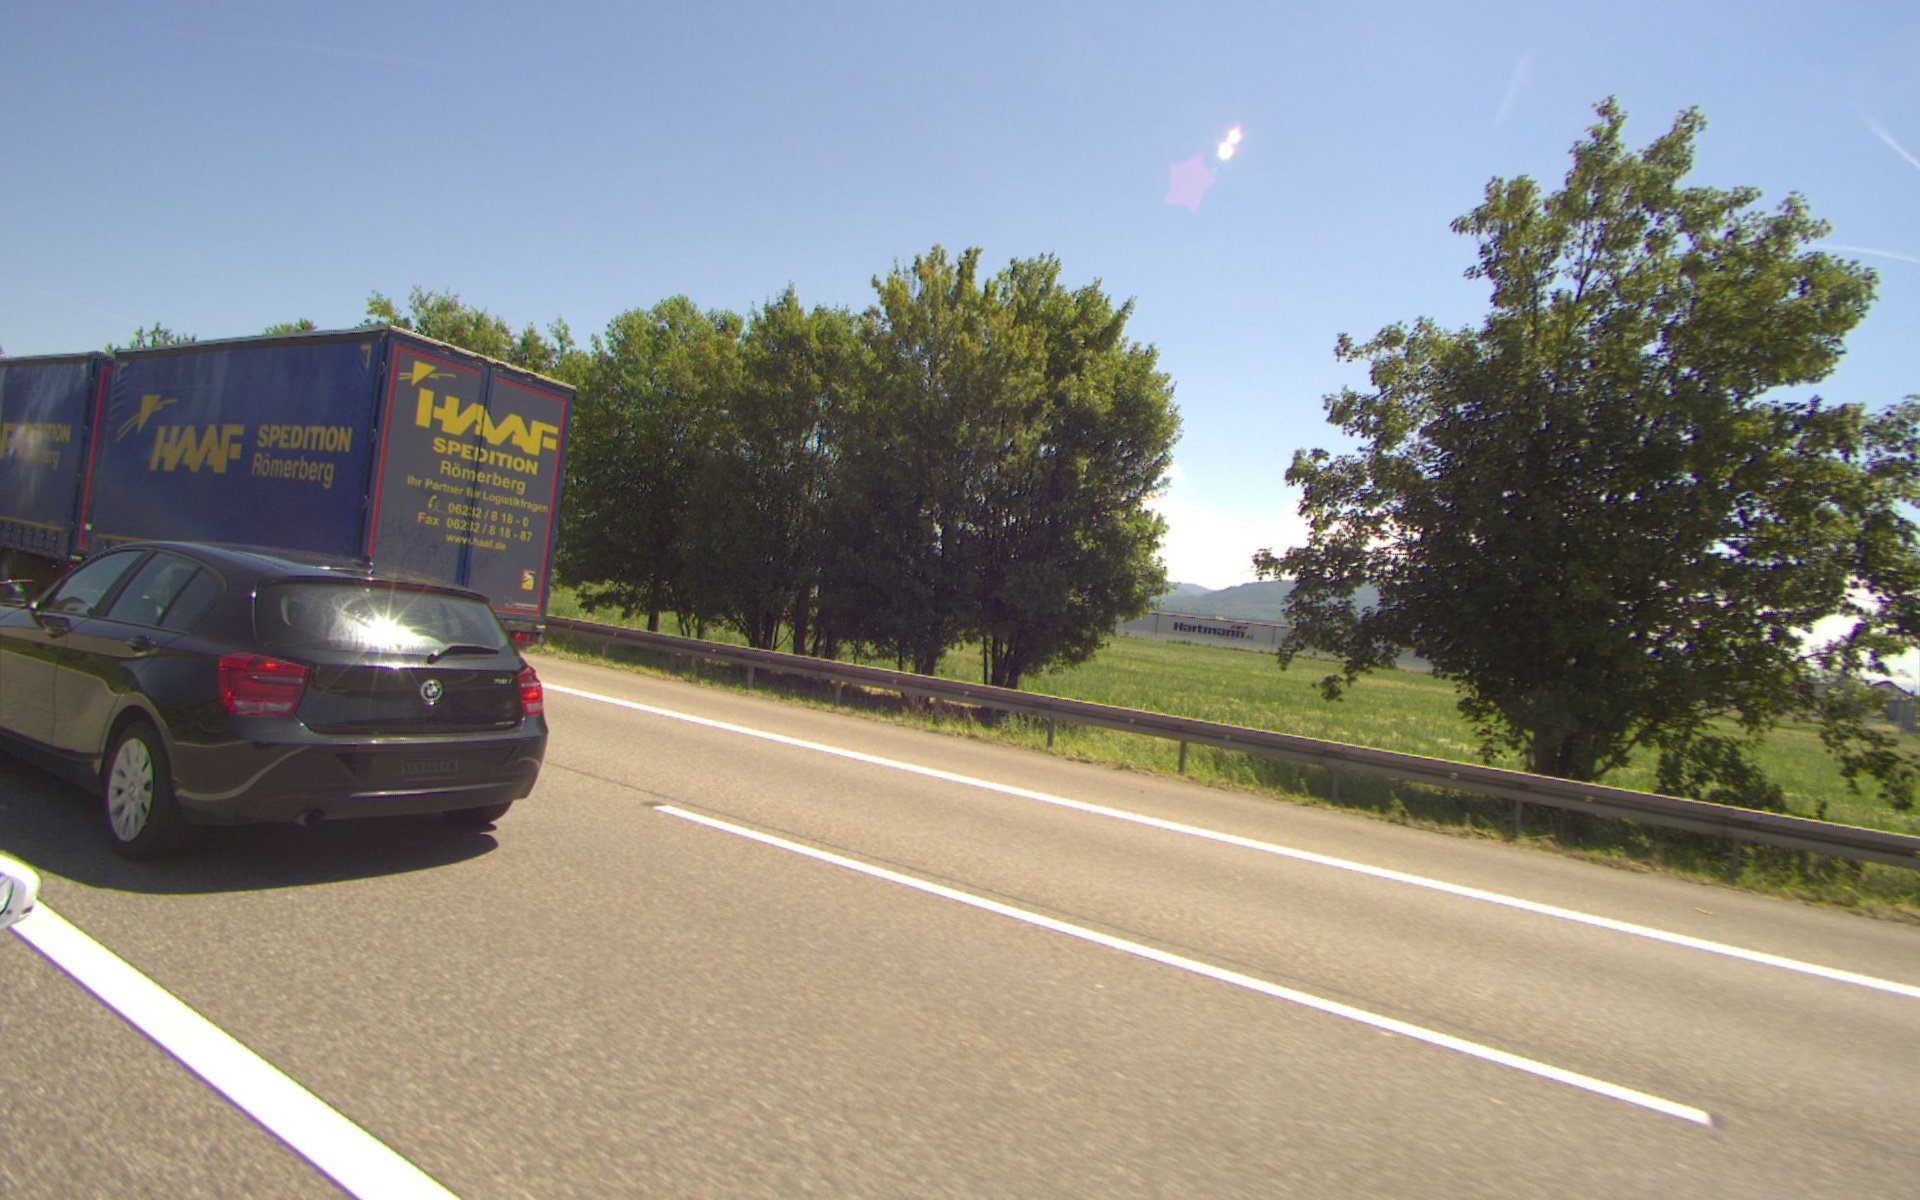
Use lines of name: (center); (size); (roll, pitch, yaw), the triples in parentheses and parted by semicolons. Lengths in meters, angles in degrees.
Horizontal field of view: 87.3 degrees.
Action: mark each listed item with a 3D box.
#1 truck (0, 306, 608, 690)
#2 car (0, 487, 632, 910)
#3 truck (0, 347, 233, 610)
truck: (-12.301, -1.761, 16.436); (15.254, 4.187, 3.115); (7, -1, 32)
car: (-3.992, 0.342, 5.738); (3.892, 1.540, 1.854); (7, -2, 33)
truck: (-18.582, -2.422, 20.368); (7.922, 4.187, 3.115); (7, -1, 32)
